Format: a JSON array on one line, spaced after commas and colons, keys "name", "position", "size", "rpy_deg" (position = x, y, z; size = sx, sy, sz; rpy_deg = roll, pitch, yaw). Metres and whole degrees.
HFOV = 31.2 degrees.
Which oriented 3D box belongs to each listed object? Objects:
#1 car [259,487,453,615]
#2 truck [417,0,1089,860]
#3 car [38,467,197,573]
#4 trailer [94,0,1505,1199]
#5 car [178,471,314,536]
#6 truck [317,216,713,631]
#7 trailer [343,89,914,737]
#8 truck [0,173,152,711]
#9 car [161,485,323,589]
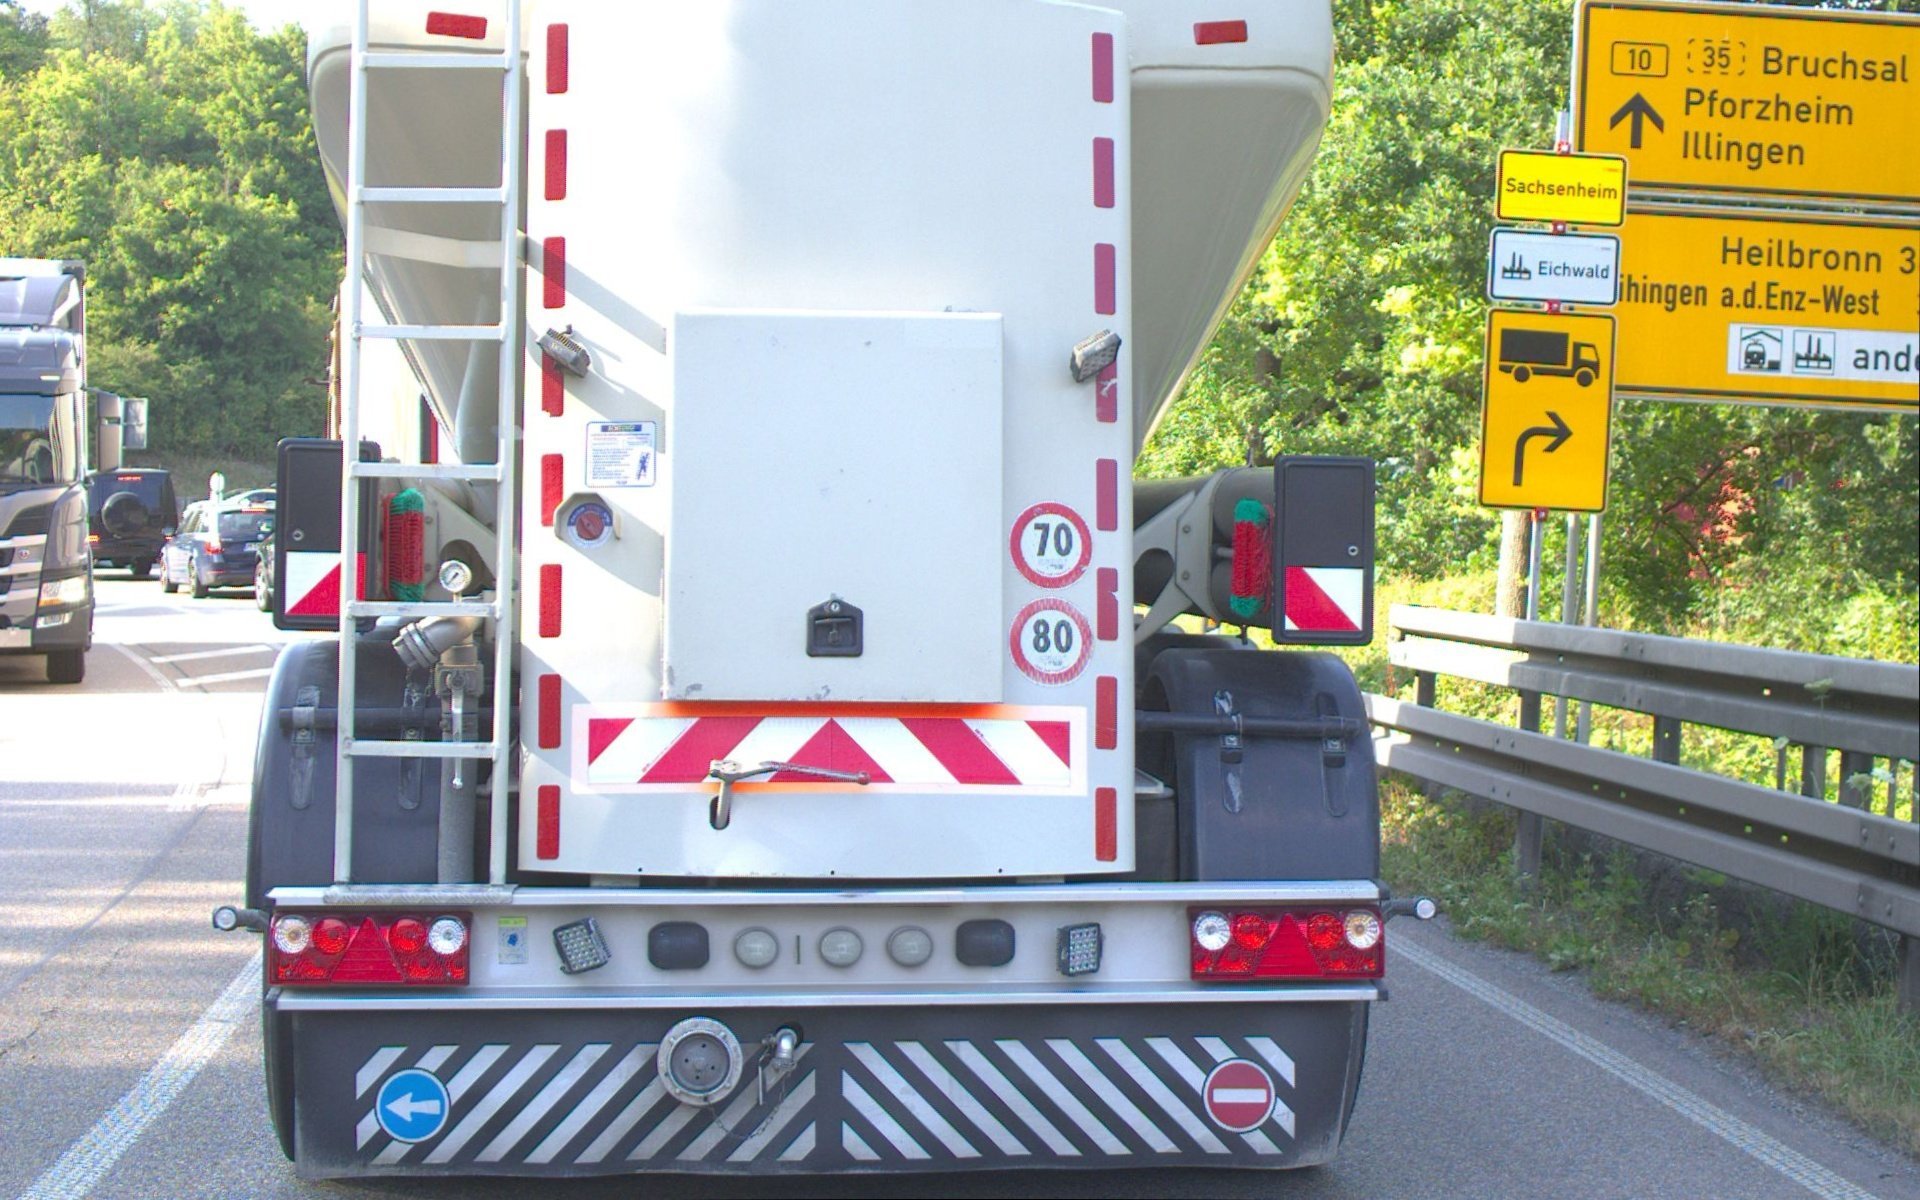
[{"name": "car", "position": [-8.121, -0.693, 45.945], "size": [1.867, 1.622, 4.001], "rpy_deg": [-1, 2, -20]}, {"name": "truck", "position": [-1.235, -0.961, 17.611], "size": [2.823, 4.021, 5.896], "rpy_deg": [1, 1, -7]}, {"name": "car", "position": [-15.348, -1.493, 62.487], "size": [1.956, 1.845, 4.001], "rpy_deg": [-1, 2, -26]}, {"name": "trailer", "position": [-0.688, -1.021, 11.898], "size": [2.886, 4.439, 9.607], "rpy_deg": [1, 1, -5]}, {"name": "car", "position": [-24.306, -3.291, 117.138], "size": [3.988, 2.007, 2.000], "rpy_deg": [2, 1, -38]}, {"name": "truck", "position": [-5.061, -1.876, 37.854], "size": [3.449, 4.072, 6.493], "rpy_deg": [1, 2, -14]}, {"name": "trailer", "position": [-3.481, -1.432, 30.909], "size": [3.544, 4.497, 12.988], "rpy_deg": [2, 1, -12]}, {"name": "truck", "position": [-10.082, -1.459, 34.020], "size": [3.011, 4.569, 10.244], "rpy_deg": [1, 1, -19]}, {"name": "car", "position": [-11.251, -1.008, 53.722], "size": [1.867, 1.559, 4.001], "rpy_deg": [-1, 2, -21]}]
